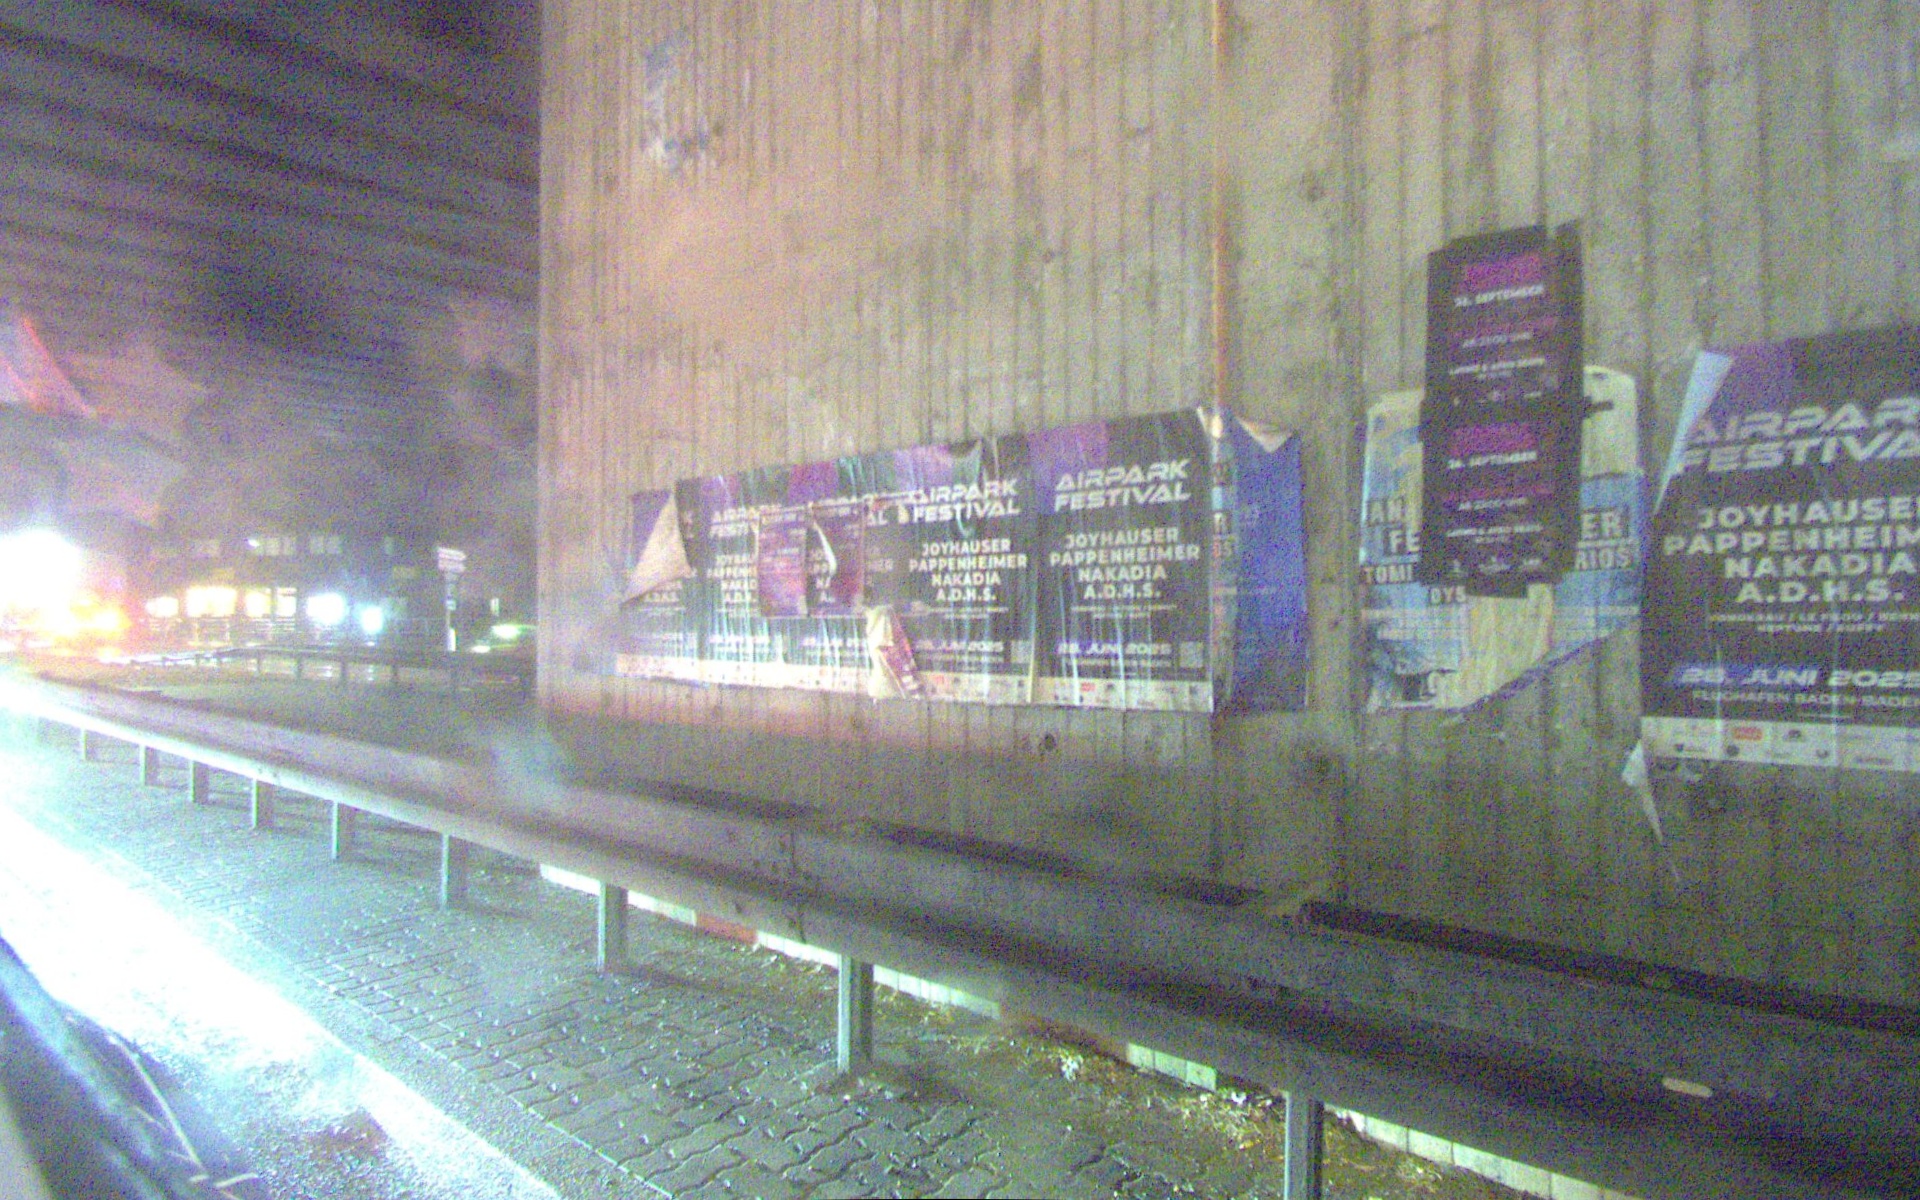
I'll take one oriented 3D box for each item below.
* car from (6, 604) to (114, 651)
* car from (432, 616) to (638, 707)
[{"bbox_3d":[-35.608,1.069,40.022,4.487,1.763,1.841,-1,0,29],"label":"car"},{"bbox_3d":[-8.356,1.185,19.804,4.074,1.600,1.888,-2,-4,37],"label":"car"}]
